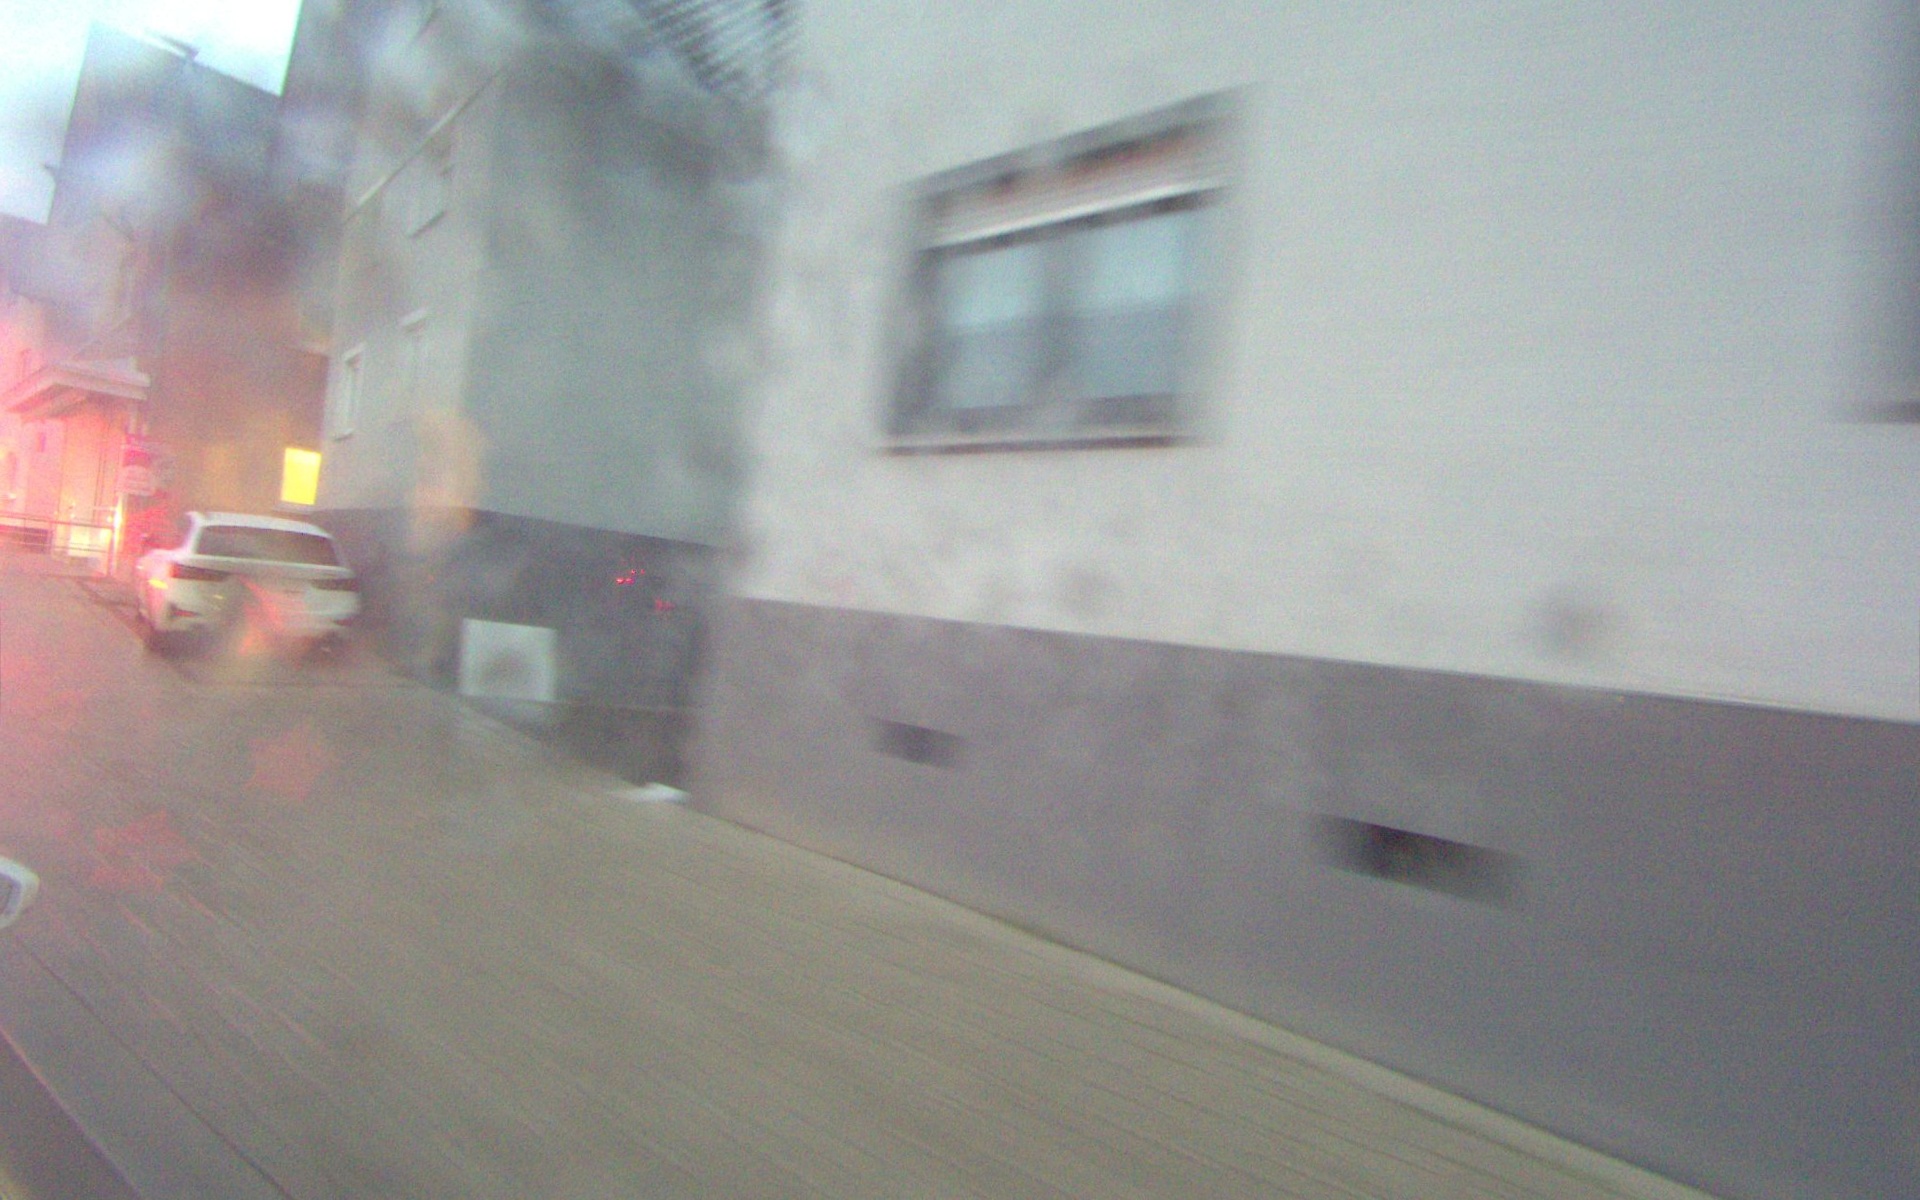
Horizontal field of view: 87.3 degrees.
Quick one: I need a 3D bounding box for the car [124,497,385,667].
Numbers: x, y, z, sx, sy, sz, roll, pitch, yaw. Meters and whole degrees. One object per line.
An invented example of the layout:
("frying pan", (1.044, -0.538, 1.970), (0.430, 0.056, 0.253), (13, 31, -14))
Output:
("car", (-8.248, -0.293, 11.561), (1.876, 1.485, 4.488), (6, 1, -42))
